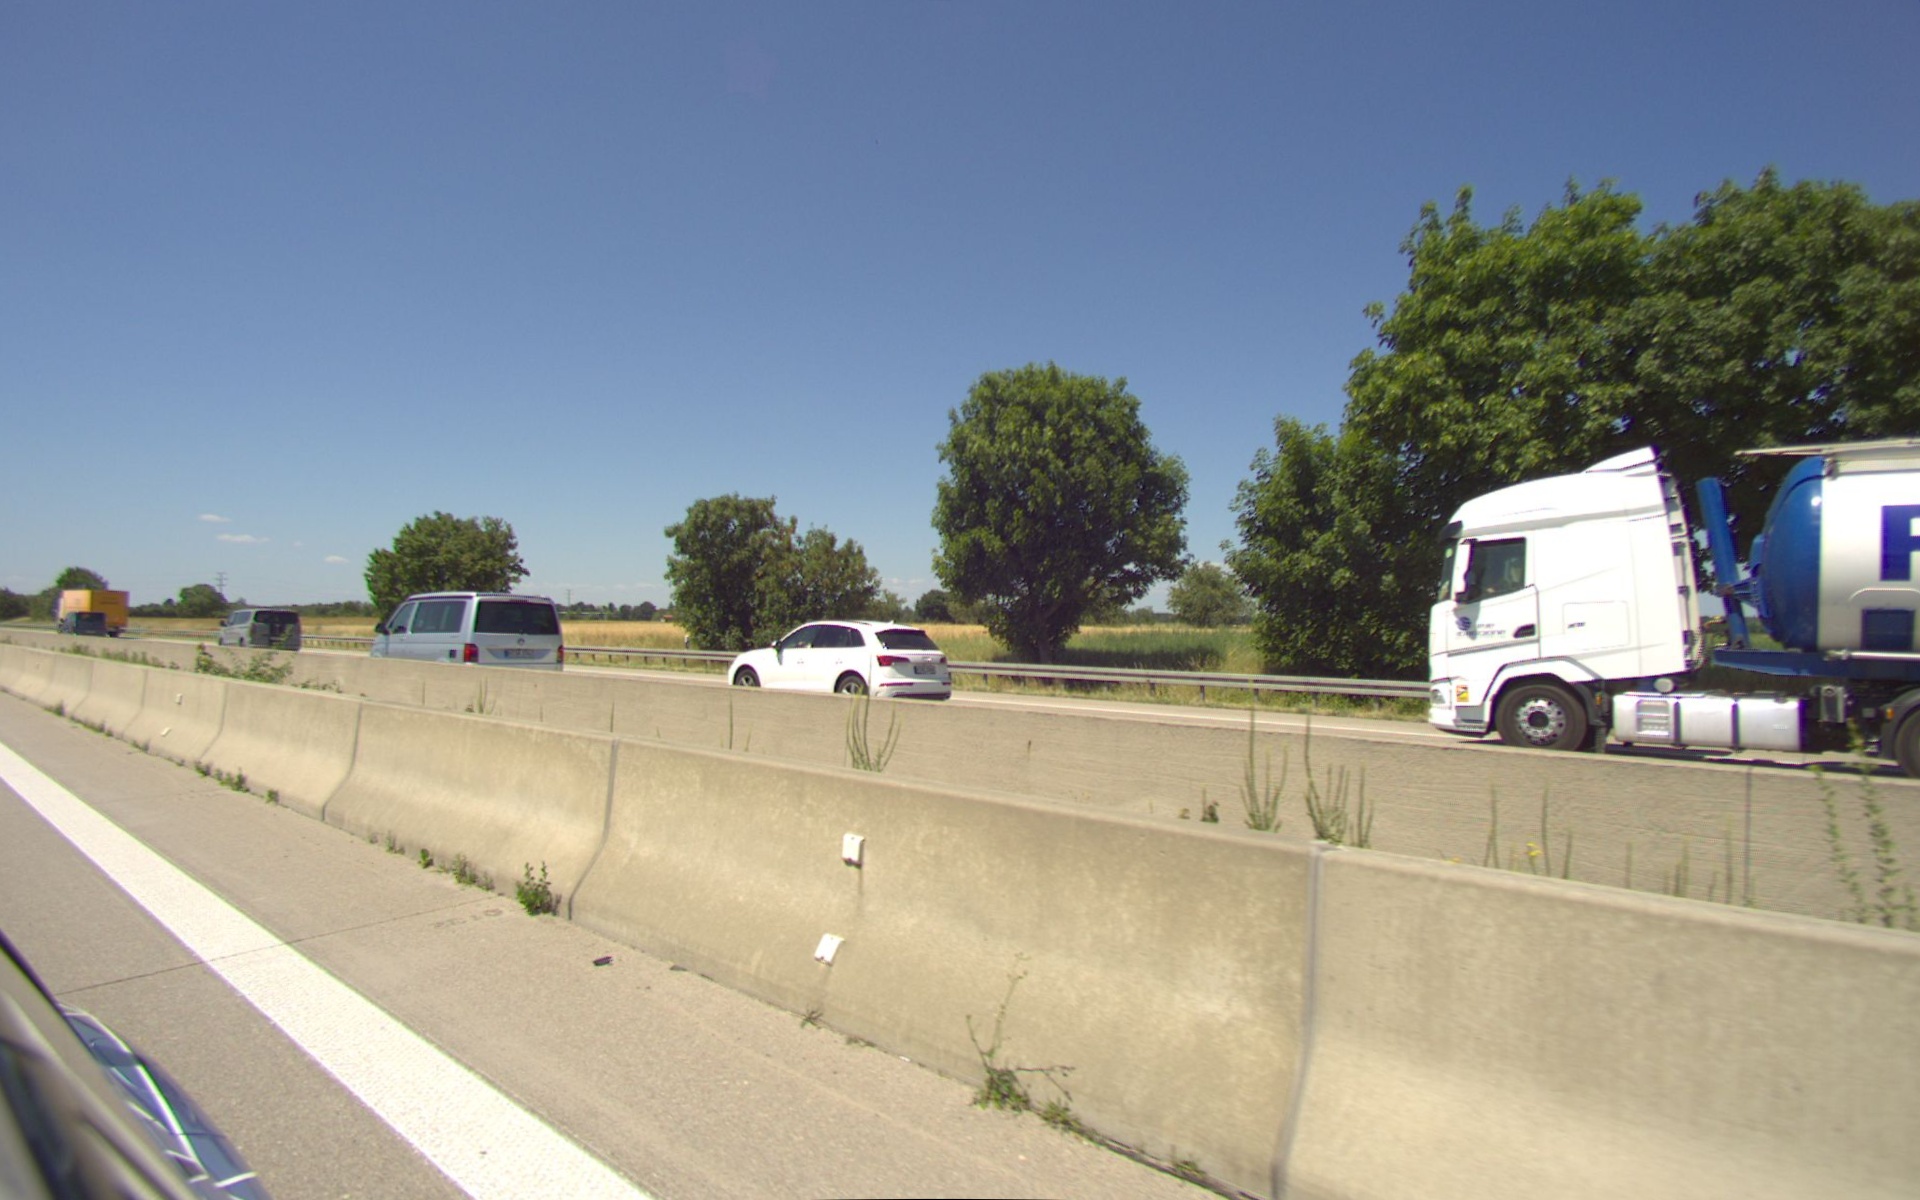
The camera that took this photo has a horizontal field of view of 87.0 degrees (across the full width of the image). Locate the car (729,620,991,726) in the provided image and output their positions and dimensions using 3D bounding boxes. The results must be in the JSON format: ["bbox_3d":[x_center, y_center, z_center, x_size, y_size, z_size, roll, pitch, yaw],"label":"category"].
[{"bbox_3d":[-1.866,1.204,17.872,4.683,1.624,1.903,-1,-3,41],"label":"car"}]

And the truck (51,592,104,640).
[{"bbox_3d":[-81.228,1.536,93.132,5.227,4.228,2.838,-1,-3,41],"label":"truck"}]

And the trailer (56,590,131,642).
[{"bbox_3d":[-75.706,1.419,88.293,14.133,4.230,2.843,-1,-3,41],"label":"trailer"}]

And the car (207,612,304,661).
[{"bbox_3d":[-29.868,1.540,42.809,5.686,1.954,1.973,-1,-3,41],"label":"car"}]

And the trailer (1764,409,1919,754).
[{"bbox_3d":[14.893,-0.302,8.316,12.848,3.658,2.547,-1,0,41],"label":"trailer"}]

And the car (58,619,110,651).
[{"bbox_3d":[-59.673,2.386,68.918,5.514,2.015,1.911,-2,-1,41],"label":"car"}]

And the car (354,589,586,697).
[{"bbox_3d":[-9.195,0.783,18.796,5.111,1.748,1.973,-1,-4,41],"label":"car"}]

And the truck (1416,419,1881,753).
[{"bbox_3d":[8.998,-0.124,13.512,4.717,3.616,2.575,-1,0,41],"label":"truck"}]
